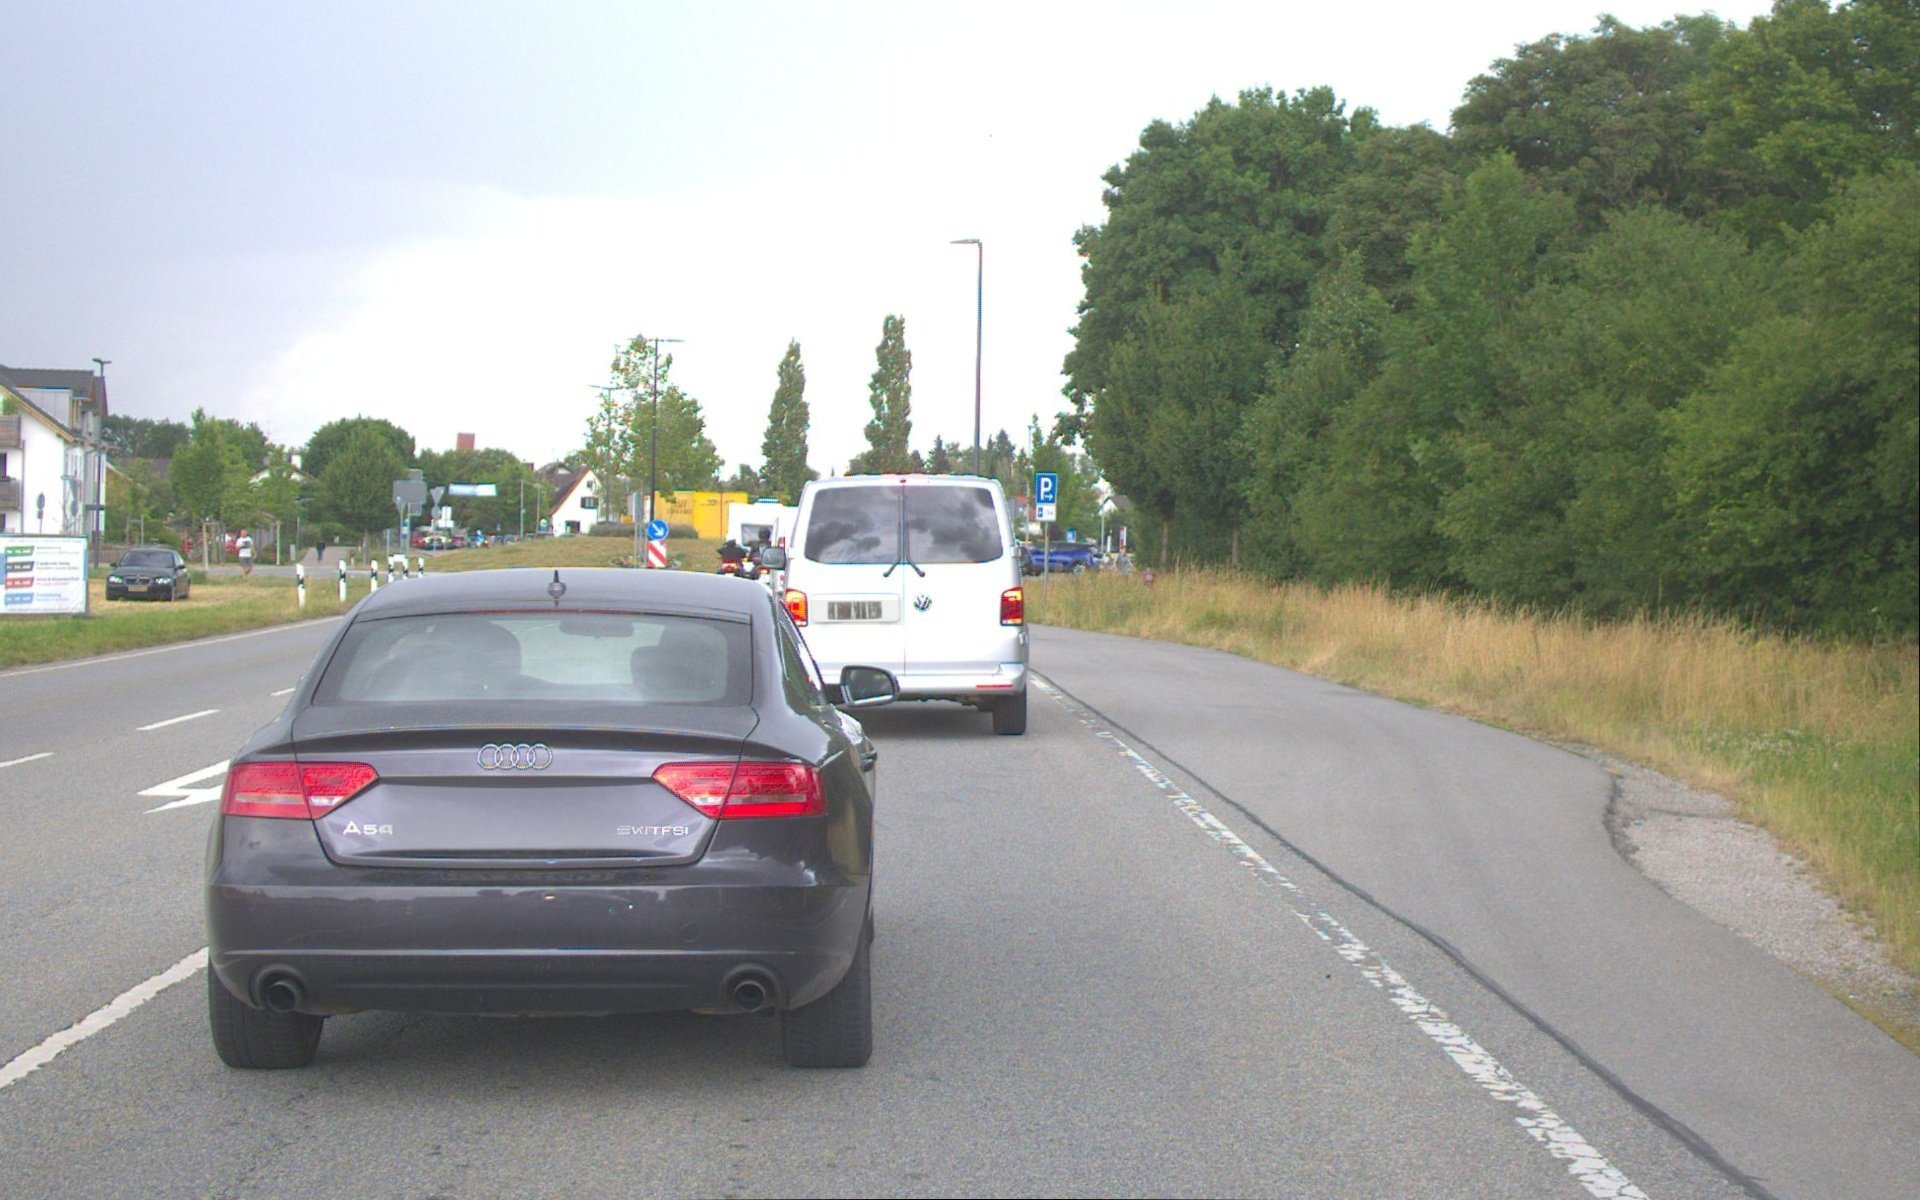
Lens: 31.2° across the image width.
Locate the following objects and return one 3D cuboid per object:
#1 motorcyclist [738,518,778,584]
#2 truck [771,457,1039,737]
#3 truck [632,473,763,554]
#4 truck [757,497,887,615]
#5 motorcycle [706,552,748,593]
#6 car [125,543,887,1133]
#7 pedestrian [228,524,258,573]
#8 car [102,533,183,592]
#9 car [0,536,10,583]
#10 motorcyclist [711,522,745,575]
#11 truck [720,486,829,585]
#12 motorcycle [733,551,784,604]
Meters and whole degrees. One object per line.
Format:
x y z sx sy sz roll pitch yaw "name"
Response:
-4.279 -1.045 72.912 0.772 1.379 0.820 1 1 0 "motorcyclist"
-0.437 -0.065 27.137 1.904 1.991 4.629 1 1 -1 "truck"
-12.366 -4.073 161.102 3.575 3.566 9.960 1 1 -19 "truck"
-2.437 -0.794 61.943 2.193 2.007 5.085 1 1 -1 "truck"
-5.991 -0.723 88.418 0.944 1.016 2.284 1 1 -7 "motorcycle"
-1.184 0.558 10.600 1.875 1.449 4.177 0 1 -2 "car"
-23.091 -1.662 110.759 0.701 1.580 0.657 1 1 16 "pedestrian"
-21.767 -1.017 91.659 1.993 1.437 4.001 1 2 -12 "car"
-30.764 -1.223 103.919 1.995 1.441 4.208 1 1 17 "car"
-5.955 -1.317 88.213 0.785 1.352 0.854 1 1 -7 "motorcyclist"
-5.422 -1.869 99.754 2.625 2.728 5.869 1 1 -8 "truck"
-4.280 -0.492 73.081 0.920 1.090 2.189 1 1 1 "motorcycle"
